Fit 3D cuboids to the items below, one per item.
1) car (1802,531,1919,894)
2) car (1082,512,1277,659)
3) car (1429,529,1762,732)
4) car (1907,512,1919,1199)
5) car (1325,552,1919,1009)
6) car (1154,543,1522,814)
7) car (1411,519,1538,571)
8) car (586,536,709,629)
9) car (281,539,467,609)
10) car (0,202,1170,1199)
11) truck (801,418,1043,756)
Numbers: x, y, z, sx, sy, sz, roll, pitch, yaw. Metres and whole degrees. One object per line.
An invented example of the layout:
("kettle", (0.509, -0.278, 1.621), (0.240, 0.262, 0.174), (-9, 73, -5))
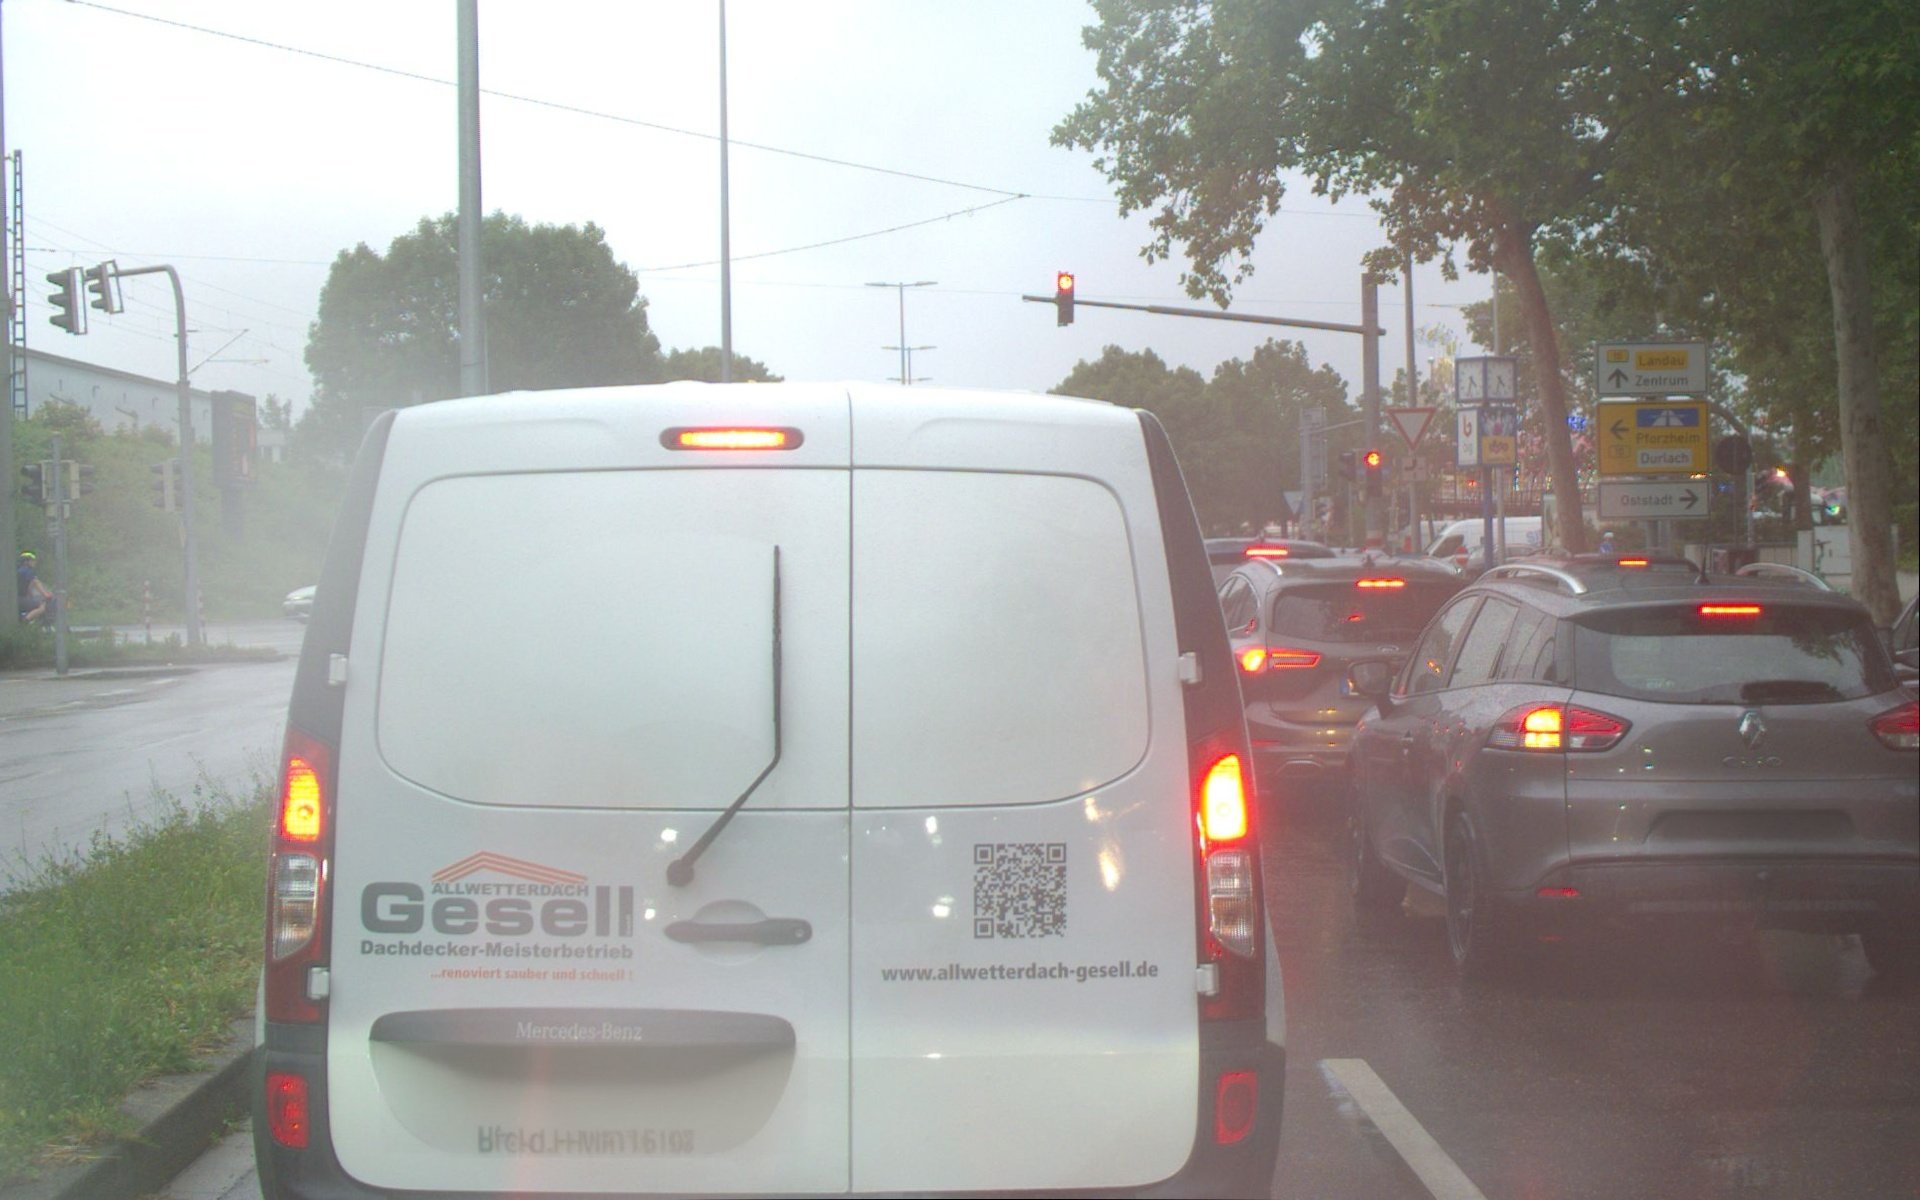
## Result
("car", (5.478, 0.537, 16.196), (1.856, 1.720, 4.191), (0, 0, -2))
("car", (2.224, -0.185, 35.752), (1.711, 1.440, 4.000), (0, 1, -1))
("car", (5.128, 0.215, 28.275), (1.839, 1.531, 4.112), (1, 0, -2))
("car", (2.967, 0.639, 5.389), (1.708, 1.544, 4.001), (0, 2, -2))
("car", (2.484, 0.553, 13.082), (1.711, 1.440, 4.000), (0, 1, -1))
("car", (2.155, 0.392, 20.565), (1.711, 1.440, 4.000), (0, 1, -1))
("car", (17.303, -1.841, 115.778), (3.986, 1.707, 1.773), (0, -1, -1))
("car", (-5.561, -0.332, 61.557), (1.826, 1.563, 4.000), (-2, 1, 0))
("car", (-13.952, -0.629, 81.959), (3.987, 1.579, 1.717), (-2, 1, -34))
("car", (-0.754, 0.363, 7.309), (1.993, 2.007, 4.001), (0, 1, -2))
("truck", (-0.356, -0.108, 27.042), (1.756, 2.458, 4.000), (0, 0, -2))
